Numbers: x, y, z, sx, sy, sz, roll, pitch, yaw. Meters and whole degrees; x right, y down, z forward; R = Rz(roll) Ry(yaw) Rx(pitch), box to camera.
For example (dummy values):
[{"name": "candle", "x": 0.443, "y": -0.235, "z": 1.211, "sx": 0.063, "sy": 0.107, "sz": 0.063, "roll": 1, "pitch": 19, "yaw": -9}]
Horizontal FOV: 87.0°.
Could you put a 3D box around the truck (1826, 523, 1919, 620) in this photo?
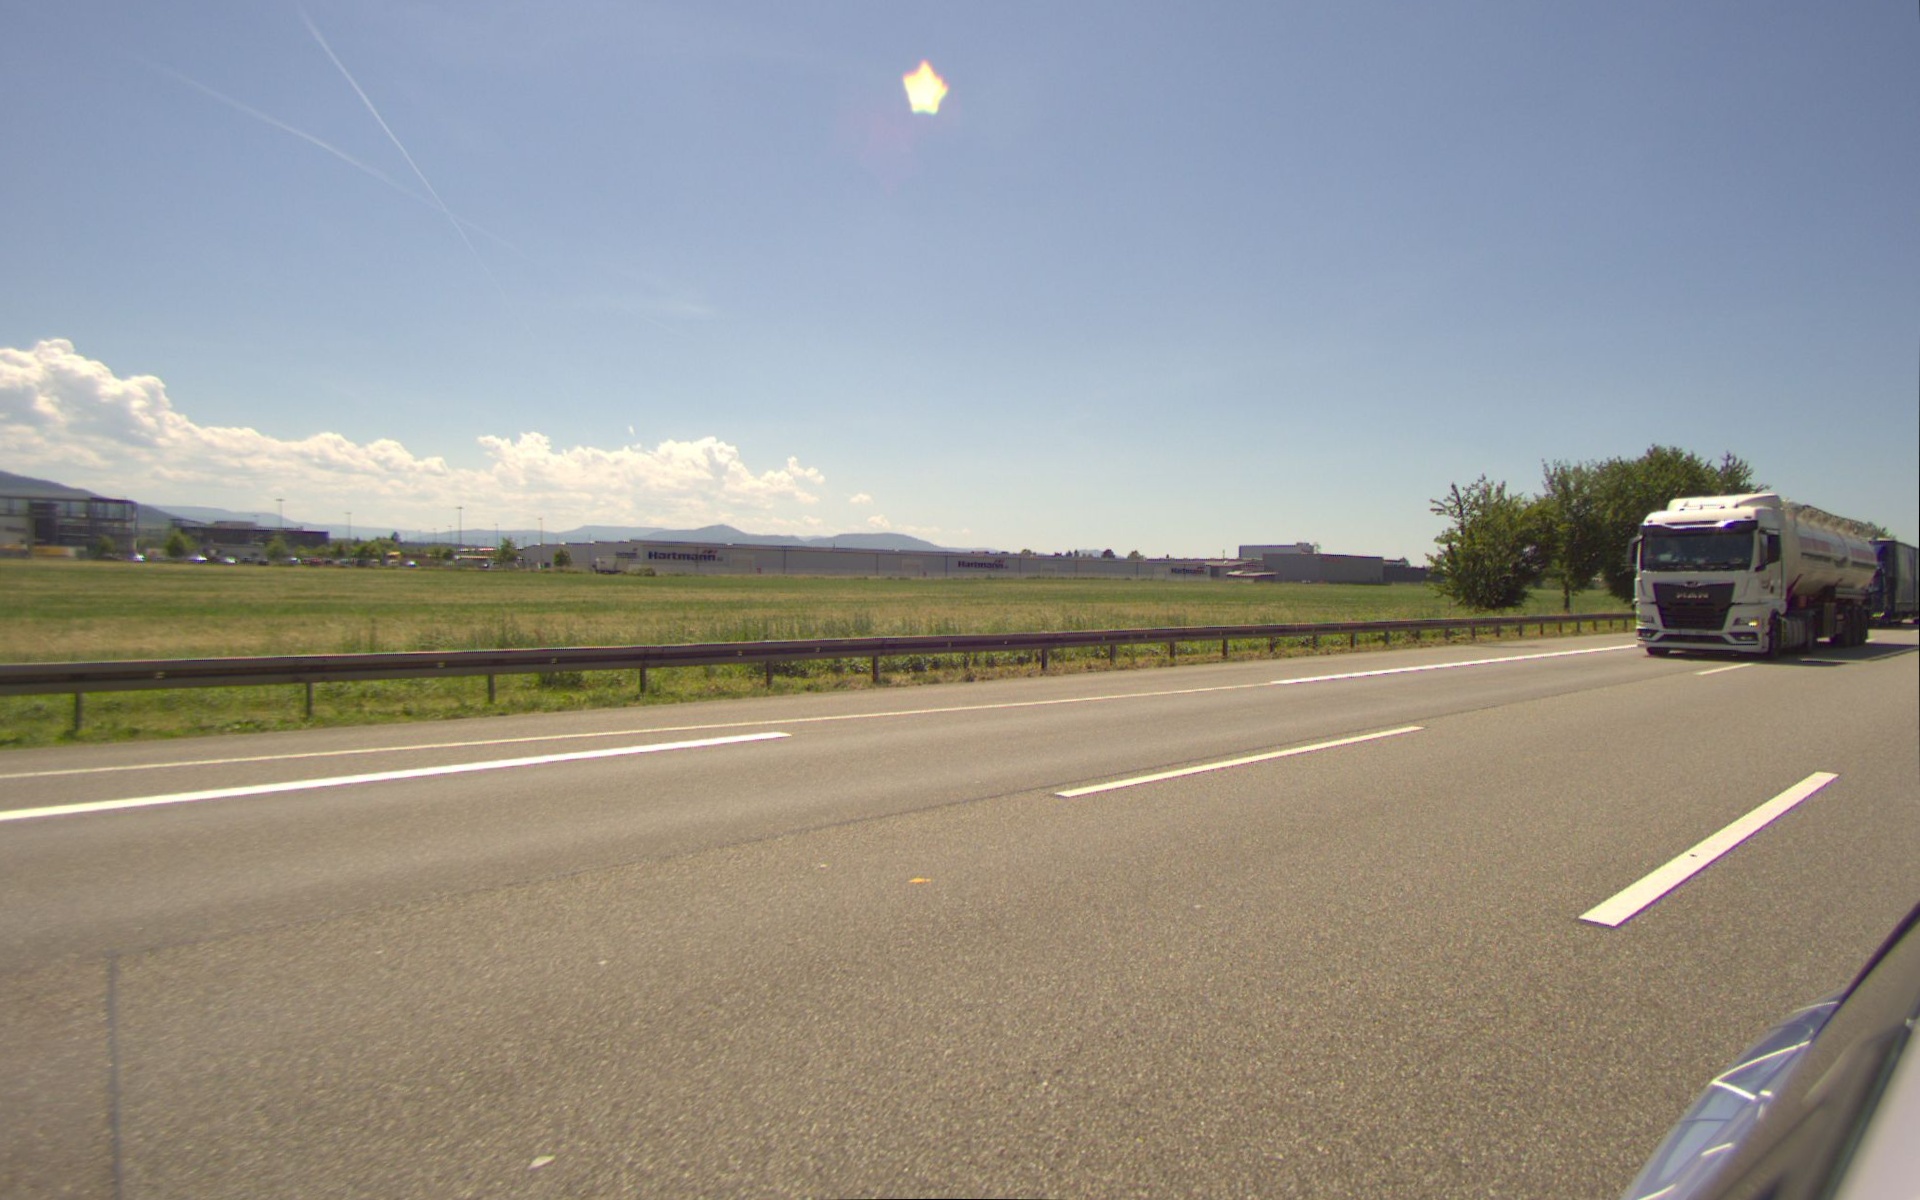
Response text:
[{"name": "truck", "x": 44.427, "y": -1.307, "z": 48.695, "sx": 10.622, "sy": 4.257, "sz": 2.794, "roll": 0, "pitch": 1, "yaw": -42}]

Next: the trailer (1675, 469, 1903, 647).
[{"name": "trailer", "x": 24.269, "y": -1.060, "z": 29.233, "sx": 12.132, "sy": 4.257, "sz": 2.796, "roll": 0, "pitch": 1, "yaw": -40}]

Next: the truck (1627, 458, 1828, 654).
[{"name": "truck", "x": 18.776, "y": -1.005, "z": 24.709, "sx": 4.910, "sy": 4.257, "sz": 2.797, "roll": 0, "pitch": 1, "yaw": -39}]

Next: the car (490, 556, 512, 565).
[{"name": "car", "x": -99.231, "y": -8.523, "z": 218.813, "sx": 3.925, "sy": 2.039, "sz": 1.875, "roll": 0, "pitch": 1, "yaw": -36}]

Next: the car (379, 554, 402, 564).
[{"name": "car", "x": -116.407, "y": -8.376, "z": 206.932, "sx": 3.925, "sy": 2.039, "sz": 1.875, "roll": 0, "pitch": 1, "yaw": -36}]

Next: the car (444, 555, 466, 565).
[{"name": "car", "x": -106.561, "y": -8.459, "z": 213.508, "sx": 3.925, "sy": 2.039, "sz": 1.875, "roll": 0, "pitch": 1, "yaw": -36}]

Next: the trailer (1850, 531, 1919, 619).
[{"name": "trailer", "x": 49.906, "y": -1.276, "z": 53.649, "sx": 10.620, "sy": 4.257, "sz": 2.795, "roll": 0, "pitch": 1, "yaw": -42}]
